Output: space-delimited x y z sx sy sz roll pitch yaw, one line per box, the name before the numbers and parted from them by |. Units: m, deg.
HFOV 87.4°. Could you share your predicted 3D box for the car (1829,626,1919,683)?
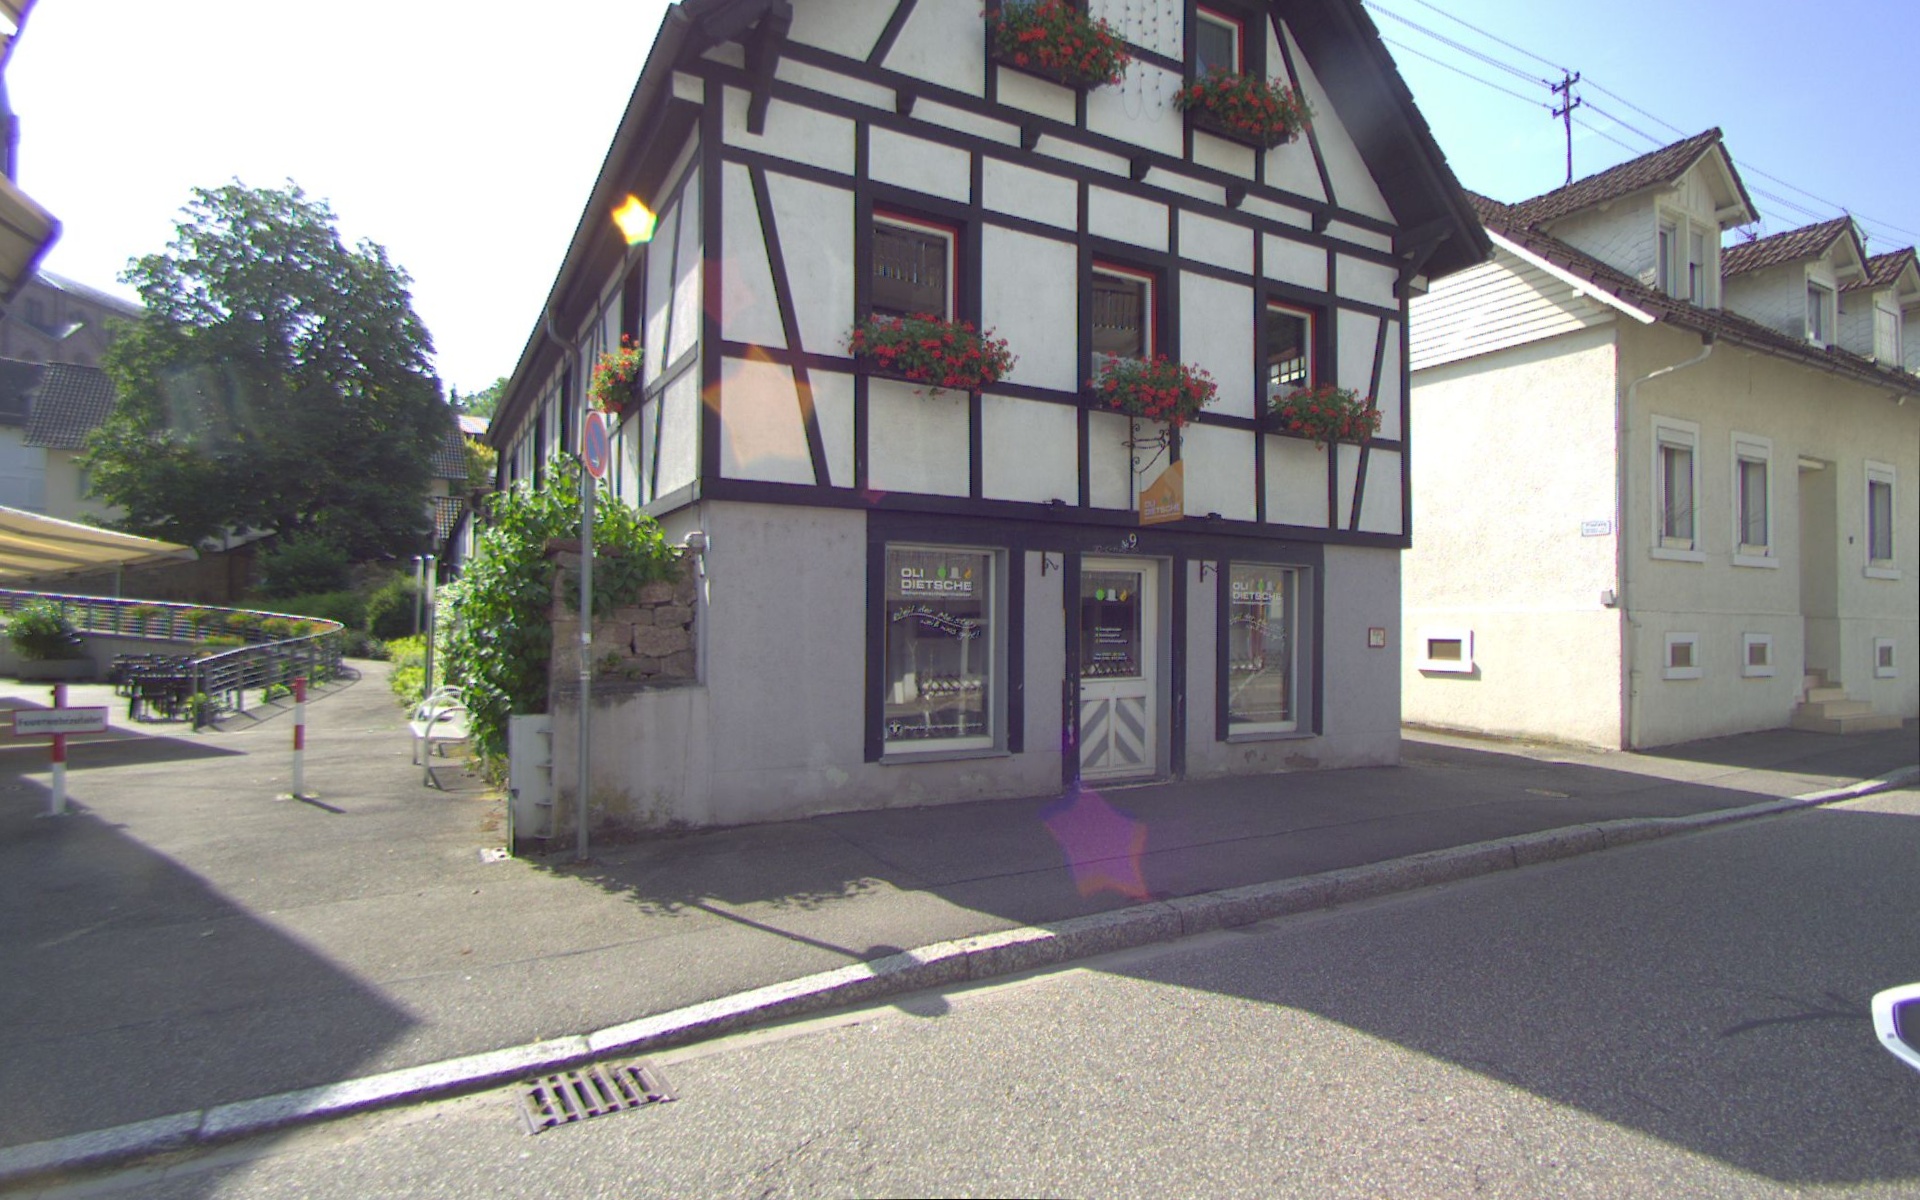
car | 25.697 1.447 26.629 1.628 1.411 3.729 0 0 -32
